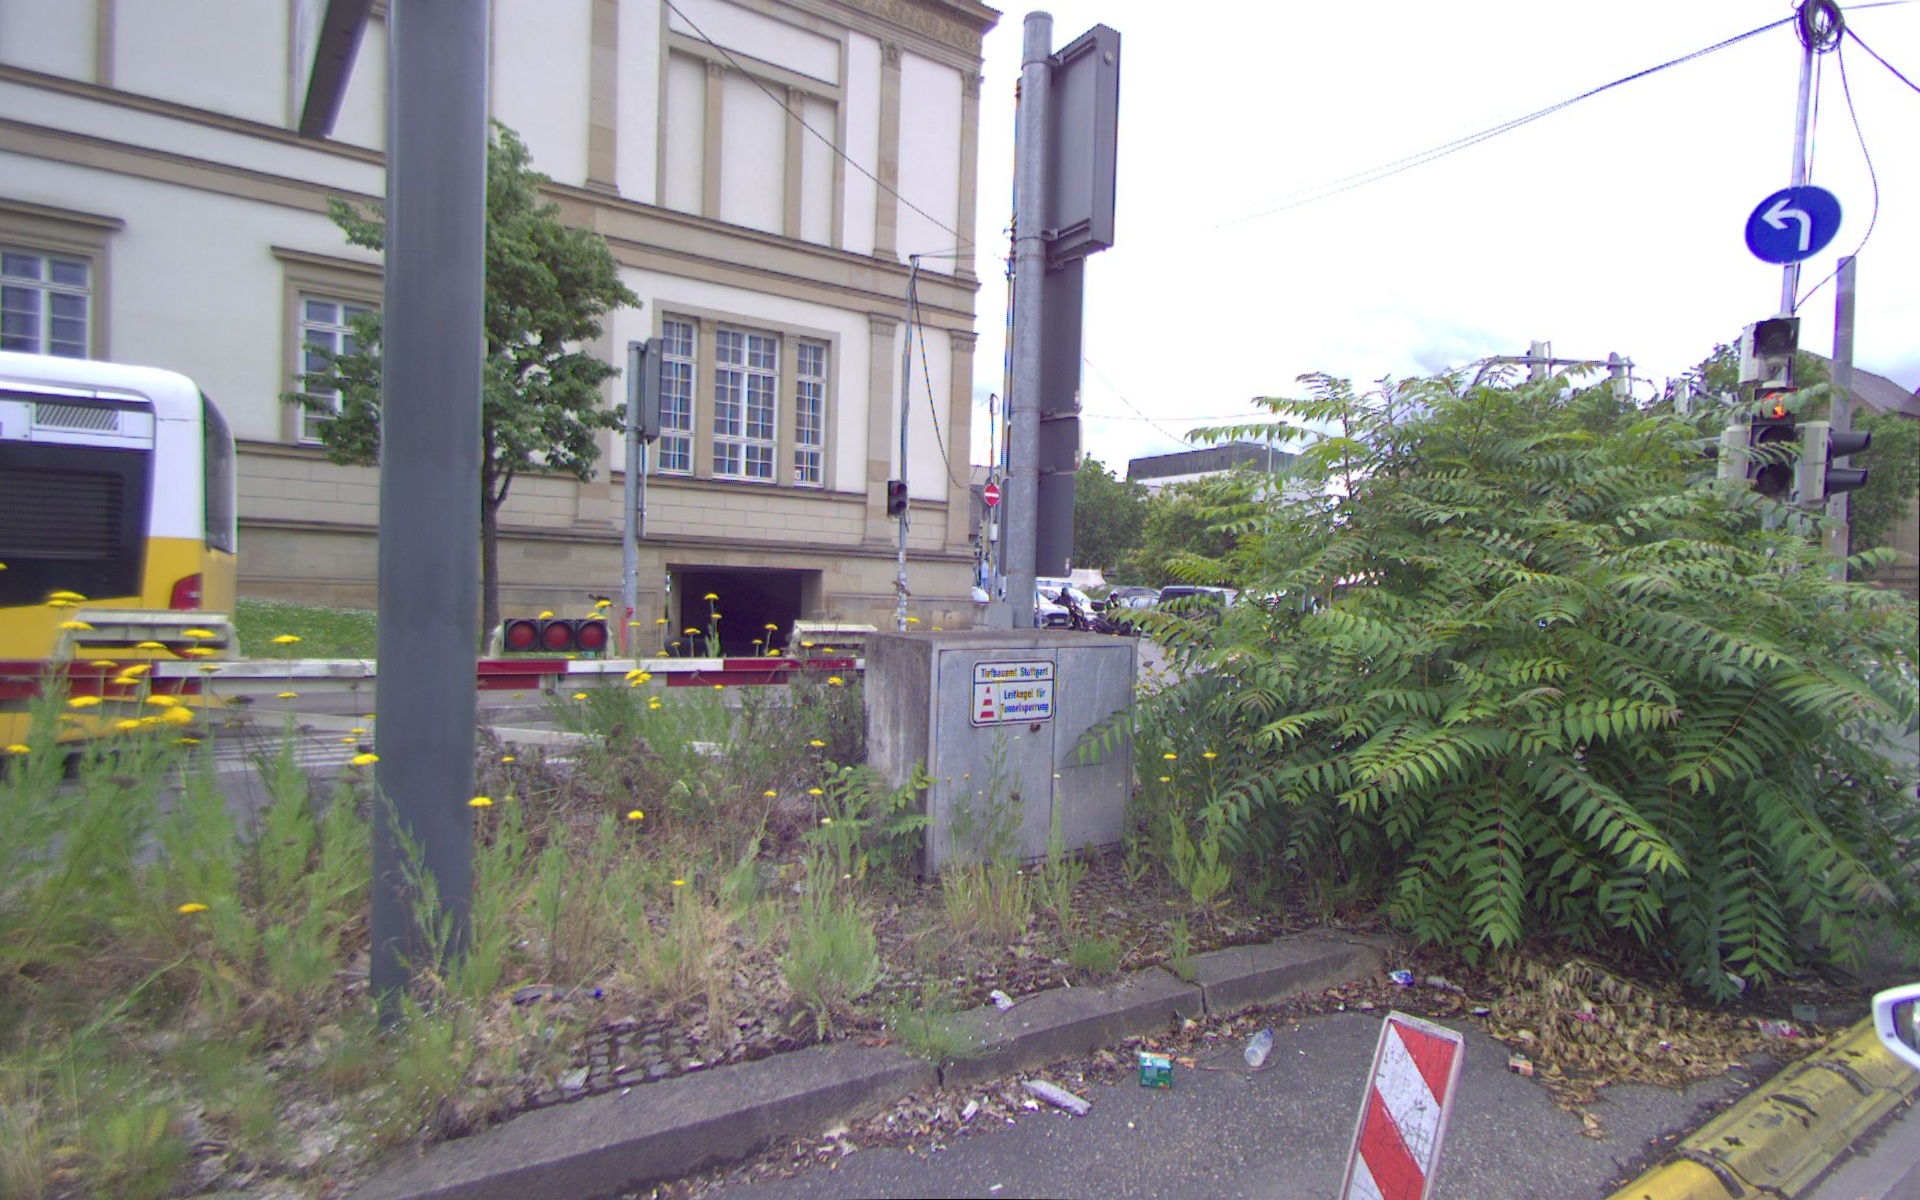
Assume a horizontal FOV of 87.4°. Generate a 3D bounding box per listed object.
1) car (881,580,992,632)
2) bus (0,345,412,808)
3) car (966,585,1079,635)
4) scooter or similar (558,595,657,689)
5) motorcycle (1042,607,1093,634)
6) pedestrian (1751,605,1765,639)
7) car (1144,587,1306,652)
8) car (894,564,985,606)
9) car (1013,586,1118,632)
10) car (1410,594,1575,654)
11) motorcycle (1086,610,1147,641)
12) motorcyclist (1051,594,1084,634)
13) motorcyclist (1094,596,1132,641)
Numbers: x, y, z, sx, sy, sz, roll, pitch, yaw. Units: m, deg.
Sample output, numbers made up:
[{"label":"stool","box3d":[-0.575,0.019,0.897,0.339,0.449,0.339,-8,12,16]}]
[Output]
[{"label":"car","box3d":[-0.913,0.171,35.926,1.979,1.698,4.285,1,1,-34]},{"label":"bus","box3d":[-9.018,-0.222,6.982,9.018,3.156,2.830,1,1,-31]},{"label":"car","box3d":[2.269,0.337,37.517,1.979,1.698,4.285,1,1,-34]},{"label":"scooter or similar","box3d":[-4.946,0.584,14.140,1.132,1.190,0.540,6,0,-10]},{"label":"motorcycle","box3d":[4.019,0.749,37.852,0.749,0.937,2.042,1,1,-35]},{"label":"pedestrian","box3d":[49.774,1.364,62.627,0.516,2.040,0.428,2,1,17]},{"label":"car","box3d":[7.606,0.518,29.187,1.979,1.698,4.285,1,1,-34]},{"label":"car","box3d":[-0.945,-0.678,43.691,1.979,1.698,4.285,1,1,-34]},{"label":"car","box3d":[4.227,0.351,40.965,1.979,1.698,4.285,1,1,-34]},{"label":"car","box3d":[17.125,0.732,32.456,1.986,1.698,4.271,1,1,-43]},{"label":"motorcycle","box3d":[5.068,0.817,32.659,0.749,0.937,2.042,1,1,-35]},{"label":"motorcyclist","box3d":[4.035,0.521,37.823,0.747,1.442,0.959,1,1,-35]},{"label":"motorcyclist","box3d":[4.987,0.591,32.773,0.738,1.442,0.959,1,1,-35]}]
